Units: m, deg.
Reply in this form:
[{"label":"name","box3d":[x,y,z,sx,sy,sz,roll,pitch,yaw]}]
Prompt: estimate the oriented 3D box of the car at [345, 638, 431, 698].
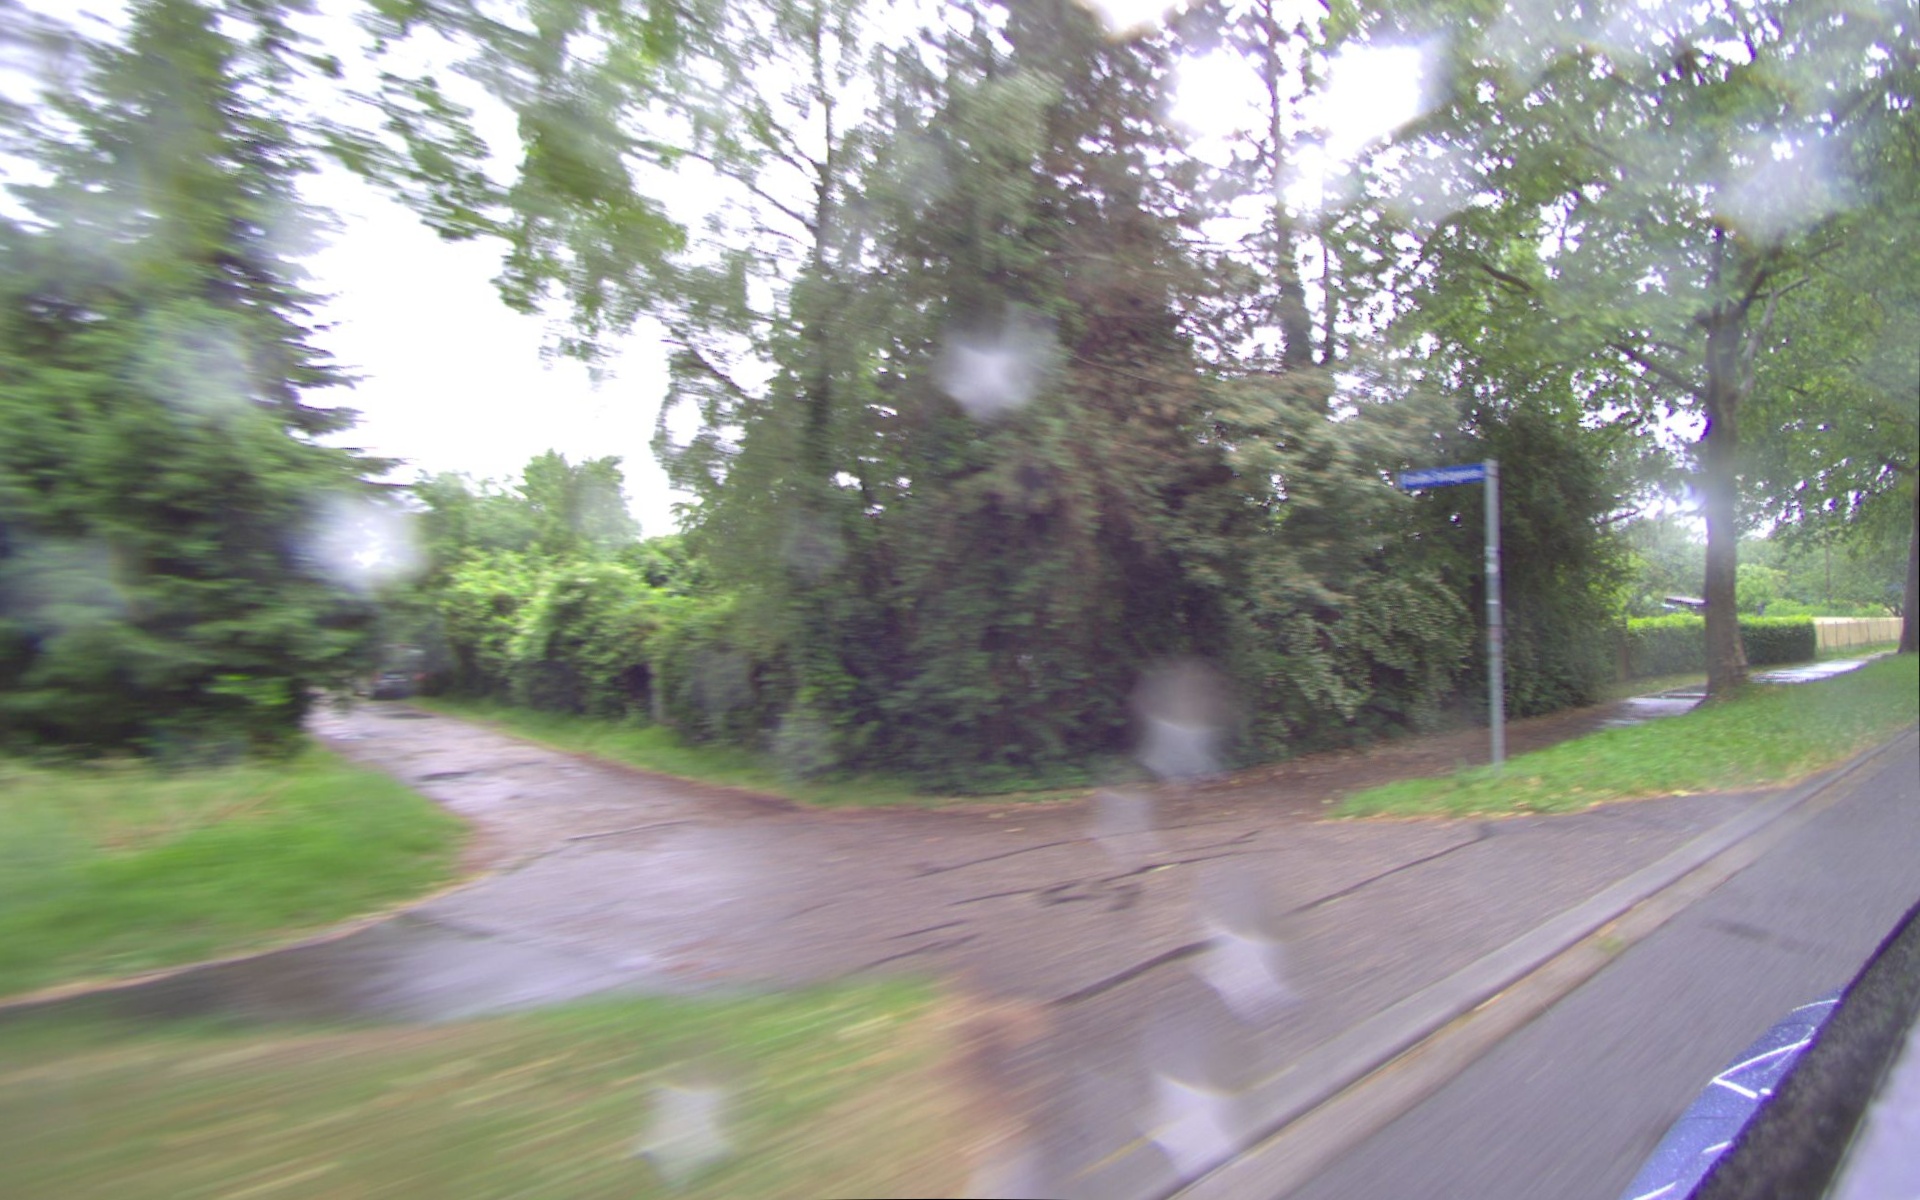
[{"label":"car","box3d":[-19.297,2.230,34.087,1.769,1.707,3.993,-1,0,-41]}]
